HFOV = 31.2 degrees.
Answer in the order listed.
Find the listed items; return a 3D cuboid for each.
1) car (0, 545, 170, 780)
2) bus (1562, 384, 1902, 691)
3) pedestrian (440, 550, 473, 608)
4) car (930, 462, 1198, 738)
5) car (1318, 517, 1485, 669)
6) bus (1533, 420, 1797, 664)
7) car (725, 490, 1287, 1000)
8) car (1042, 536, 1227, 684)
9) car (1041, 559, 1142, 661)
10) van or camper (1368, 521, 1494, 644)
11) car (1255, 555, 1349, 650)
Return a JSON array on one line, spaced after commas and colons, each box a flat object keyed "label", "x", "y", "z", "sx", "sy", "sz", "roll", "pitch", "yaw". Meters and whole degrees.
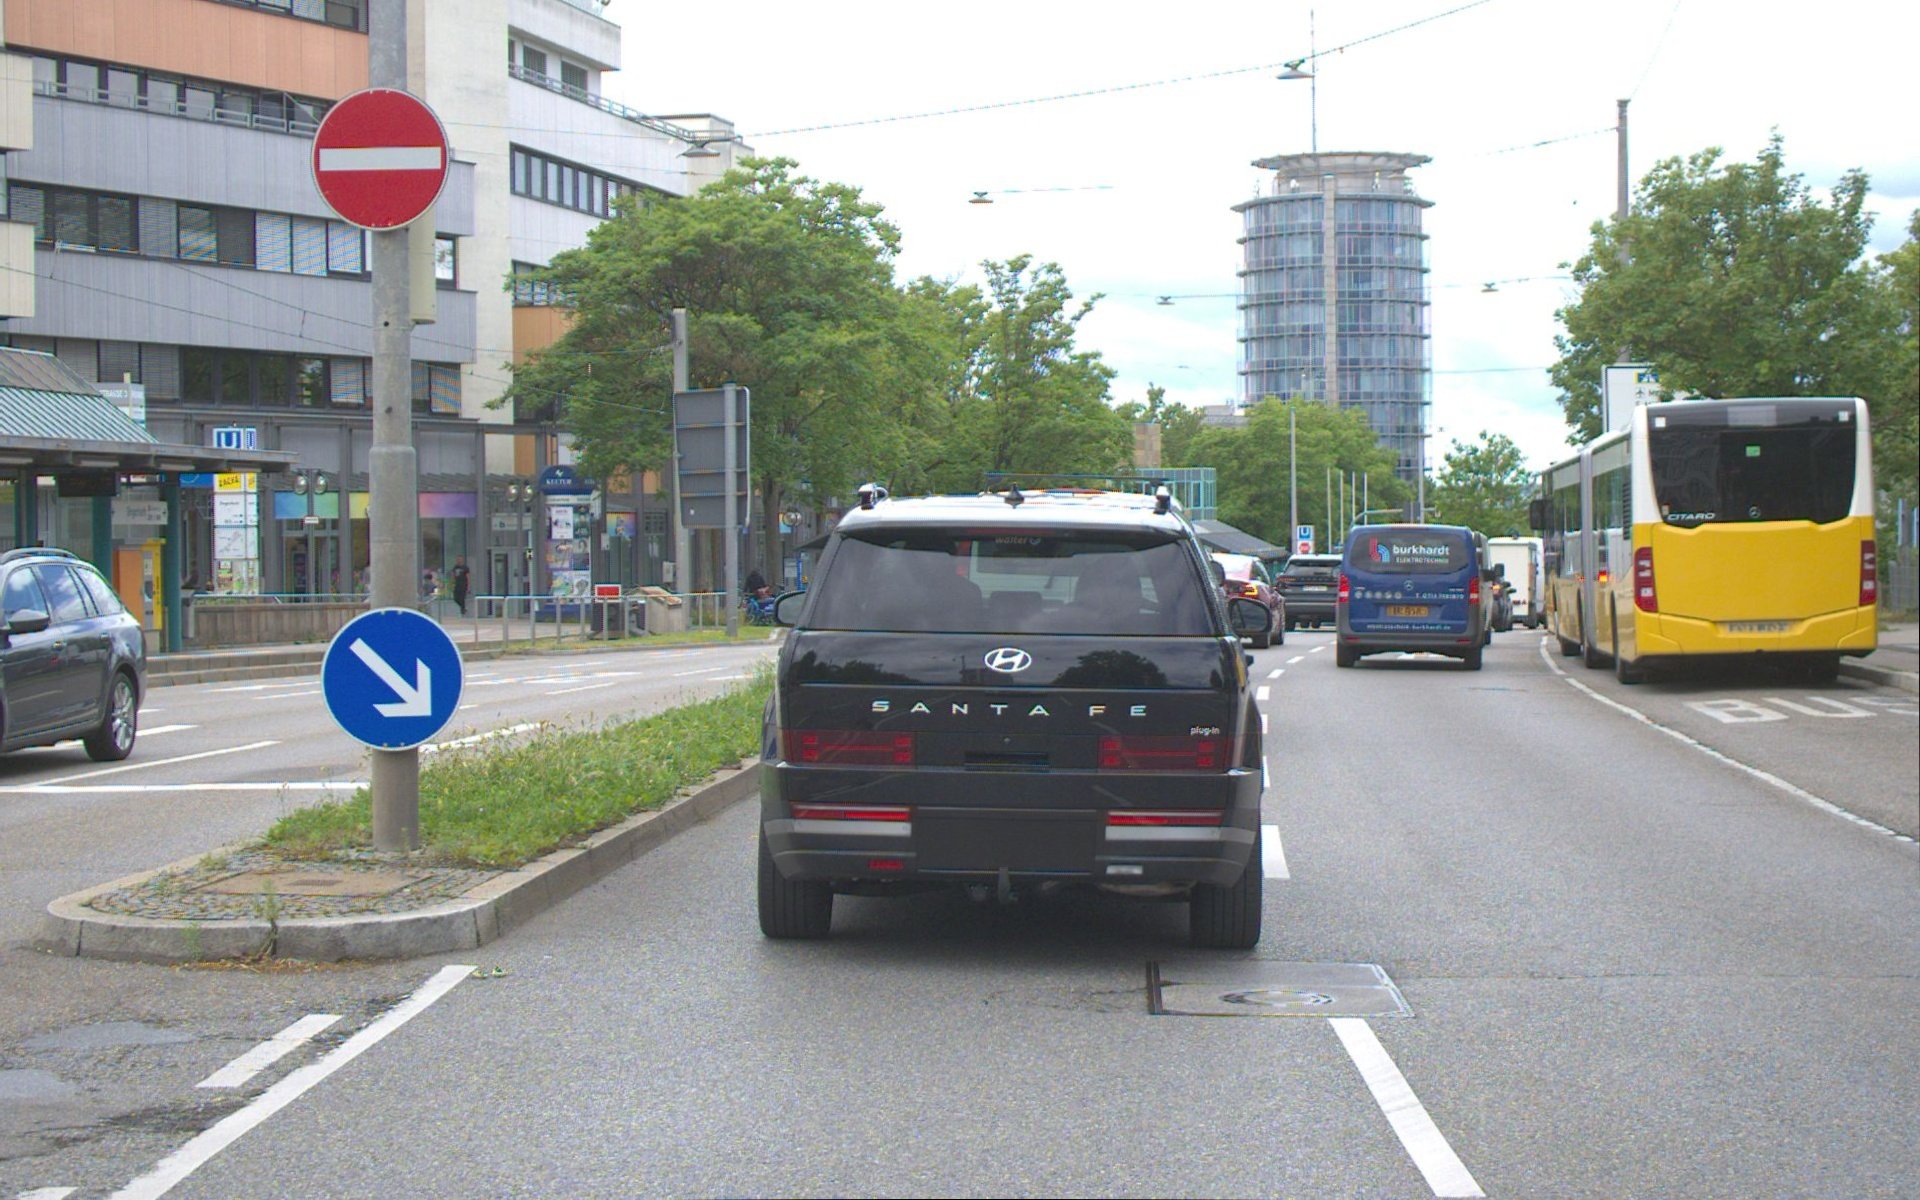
[{"label": "car", "x": -6.760, "y": 0.378, "z": 22.443, "sx": 1.798, "sy": 1.450, "sz": 4.612, "roll": 0, "pitch": 1, "yaw": 5}, {"label": "bus", "x": 8.791, "y": -0.703, "z": 40.177, "sx": 2.967, "sy": 3.106, "sz": 9.241, "roll": -1, "pitch": 1, "yaw": 7}, {"label": "pedestrian", "x": -14.534, "y": -0.598, "z": 99.192, "sx": 0.731, "sy": 1.667, "sz": 0.581, "roll": 0, "pitch": 1, "yaw": 26}, {"label": "car", "x": 0.845, "y": -0.070, "z": 27.208, "sx": 1.902, "sy": 1.962, "sz": 4.636, "roll": 1, "pitch": 2, "yaw": 2}, {"label": "car", "x": 5.808, "y": -0.142, "z": 45.708, "sx": 1.902, "sy": 1.852, "sz": 4.709, "roll": 1, "pitch": 2, "yaw": 4}, {"label": "bus", "x": 9.988, "y": -0.822, "z": 49.671, "sx": 2.953, "sy": 3.101, "sz": 9.973, "roll": -1, "pitch": 1, "yaw": 7}, {"label": "car", "x": 0.158, "y": 0.430, "z": 14.061, "sx": 1.902, "sy": 1.725, "sz": 4.447, "roll": 1, "pitch": 2, "yaw": 0}, {"label": "car", "x": 1.976, "y": 0.066, "z": 40.155, "sx": 1.902, "sy": 1.537, "sz": 4.710, "roll": 1, "pitch": 2, "yaw": 0}, {"label": "car", "x": 2.753, "y": 0.174, "z": 71.022, "sx": 1.902, "sy": 1.922, "sz": 4.709, "roll": 1, "pitch": 2, "yaw": 4}, {"label": "van or camper", "x": 7.932, "y": -0.340, "z": 58.250, "sx": 1.994, "sy": 1.911, "sz": 4.408, "roll": 1, "pitch": 2, "yaw": 7}, {"label": "car", "x": 7.340, "y": 0.017, "z": 73.546, "sx": 1.902, "sy": 1.852, "sz": 4.709, "roll": 1, "pitch": 2, "yaw": 6}]
